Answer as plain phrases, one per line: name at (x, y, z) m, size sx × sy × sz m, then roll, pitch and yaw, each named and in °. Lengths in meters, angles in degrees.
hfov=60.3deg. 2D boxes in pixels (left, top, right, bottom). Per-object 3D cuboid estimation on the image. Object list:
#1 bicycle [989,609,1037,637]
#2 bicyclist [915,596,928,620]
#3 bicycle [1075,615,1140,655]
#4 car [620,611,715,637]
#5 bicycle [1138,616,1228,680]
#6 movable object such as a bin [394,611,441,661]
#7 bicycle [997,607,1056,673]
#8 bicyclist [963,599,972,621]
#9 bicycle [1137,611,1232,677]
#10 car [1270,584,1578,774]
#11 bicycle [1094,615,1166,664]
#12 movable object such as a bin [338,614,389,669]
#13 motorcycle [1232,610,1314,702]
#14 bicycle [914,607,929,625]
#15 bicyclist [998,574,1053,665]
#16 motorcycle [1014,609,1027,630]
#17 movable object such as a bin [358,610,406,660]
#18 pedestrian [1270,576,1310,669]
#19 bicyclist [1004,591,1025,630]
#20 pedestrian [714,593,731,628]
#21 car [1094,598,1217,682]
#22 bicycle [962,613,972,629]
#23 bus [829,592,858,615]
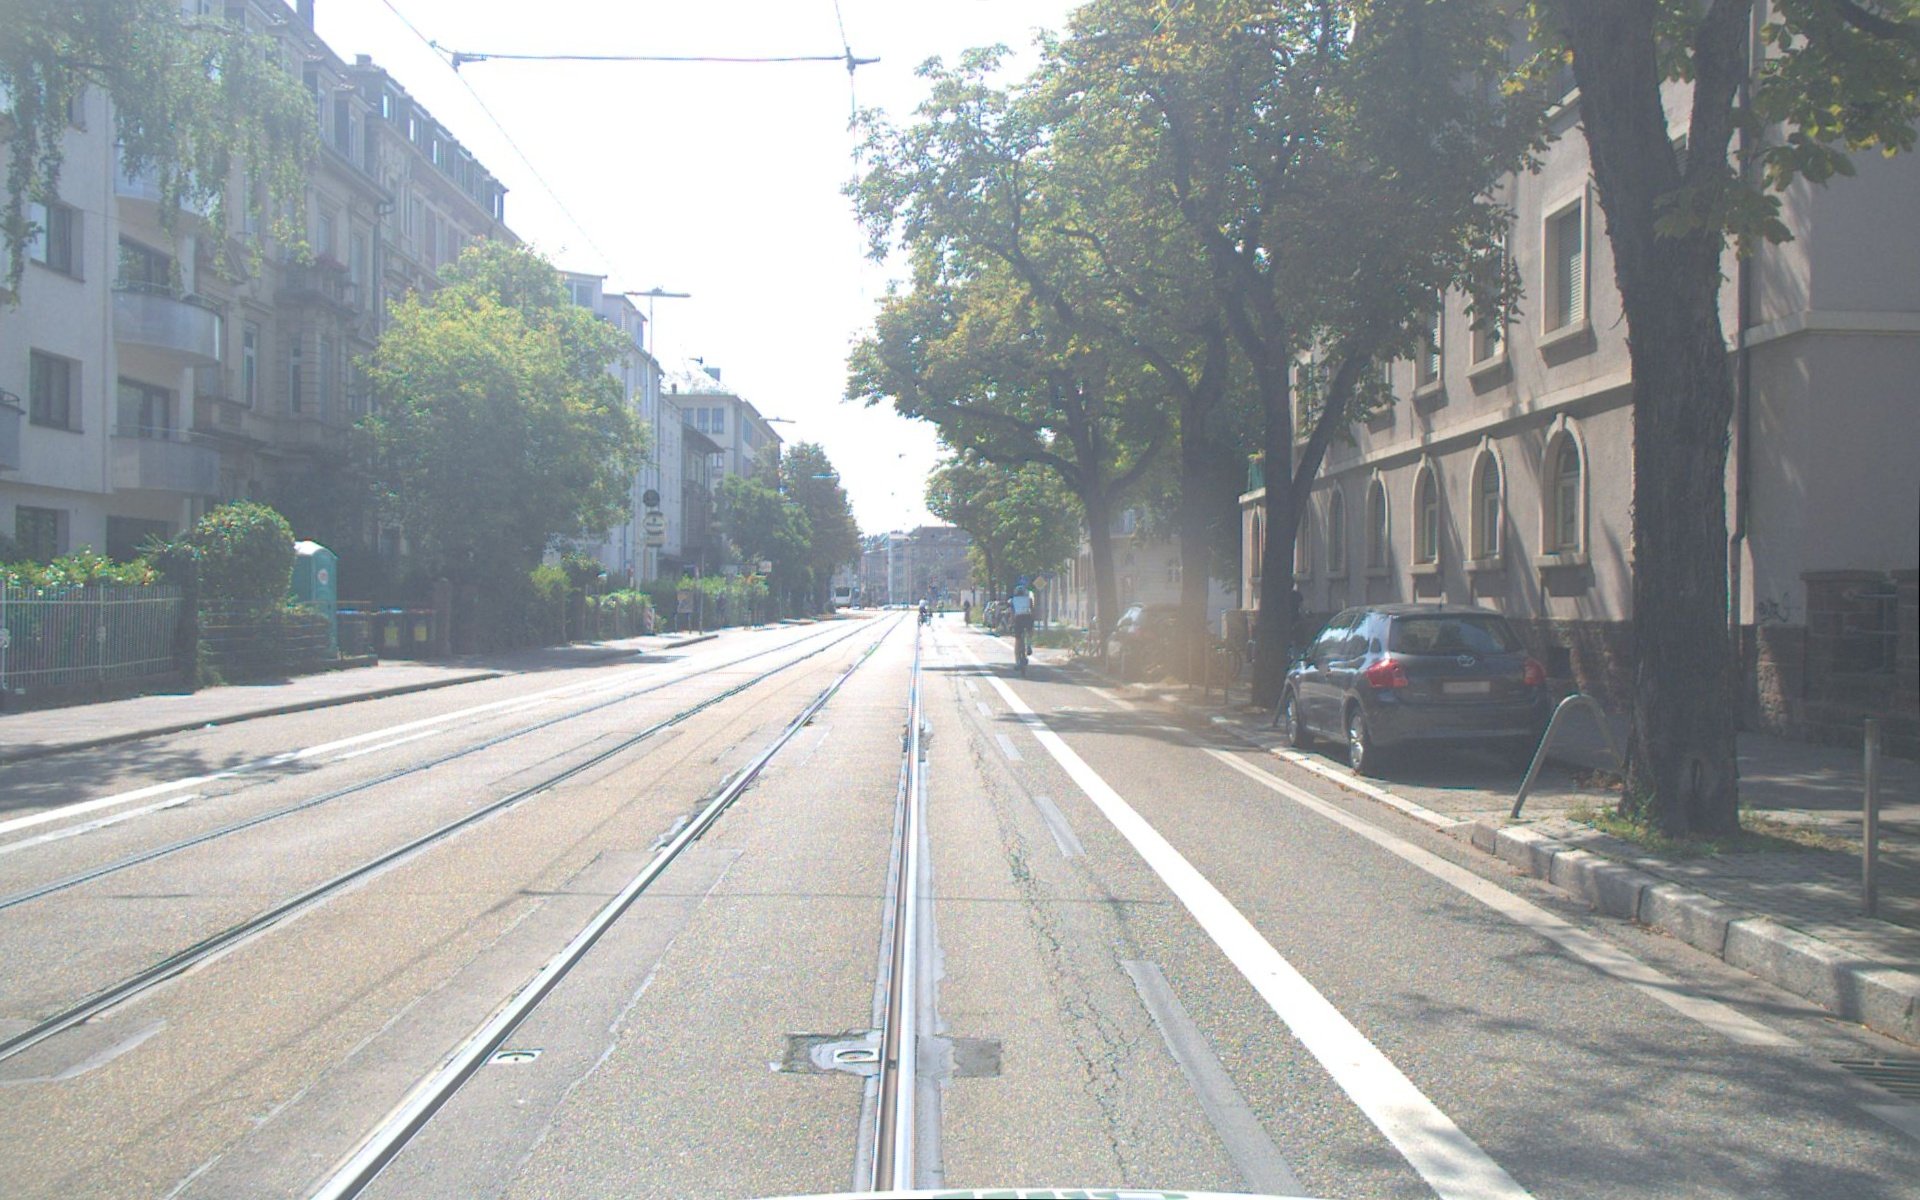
bicycle at (2.313, 1.009, 72.052) m, size 1.991 × 1.171 × 0.786 m, roll 0°, pitch 0°, yaw 10°
bicyclist at (-2.273, 0.477, 97.888) m, size 0.743 × 1.416 × 0.779 m, roll 0°, pitch 0°, yaw 1°
bicycle at (3.913, 0.925, 43.906) m, size 1.678 × 1.050 × 0.566 m, roll 0°, pitch 0°, yaw -1°
car at (-14.409, 1.184, 81.425) m, size 4.141 × 1.205 × 2.001 m, roll -1°, pitch -1°, yaw 19°
bicycle at (3.966, 0.849, 29.505) m, size 1.572 × 1.123 × 0.399 m, roll 0°, pitch 0°, yaw 5°
movable object such as a bin at (-12.253, 0.817, 37.367) m, size 0.770 × 1.094 × 0.803 m, roll 1°, pitch 0°, yaw 1°
bicycle at (1.373, 0.814, 34.789) m, size 1.124 × 1.291 × 2.712 m, roll 0°, pitch 0°, yaw 0°
bicyclist at (0.444, 0.600, 99.890) m, size 0.567 × 1.301 × 0.471 m, roll 0°, pitch -1°, yaw 1°
bicycle at (4.047, 0.788, 29.895) m, size 1.686 × 1.169 × 0.377 m, roll 0°, pitch 0°, yaw 5°
car at (4.417, 0.665, 16.436) m, size 1.803 × 1.559 × 4.114 m, roll 0°, pitch 2°, yaw -2°
bicycle at (4.010, 0.931, 39.009) m, size 1.686 × 1.156 × 0.377 m, roll 0°, pitch 0°, yaw 5°
movable object such as a bin at (-12.236, 0.843, 33.920) m, size 0.771 × 1.094 × 0.754 m, roll 1°, pitch 0°, yaw -3°
motorcycle at (4.654, 0.808, 24.739) m, size 0.696 × 1.277 × 2.175 m, roll 1°, pitch 0°, yaw -3°
bicycle at (-2.275, 0.947, 97.815) m, size 0.743 × 1.008 × 2.298 m, roll 0°, pitch 0°, yaw 1°
bicyclist at (1.365, 0.408, 34.727) m, size 1.102 × 1.869 × 0.955 m, roll 0°, pitch -1°, yaw -1°
motorcycle at (3.141, 1.015, 85.948) m, size 0.538 × 1.086 × 2.330 m, roll 0°, pitch 0°, yaw -1°
movable object such as a bin at (-13.038, 0.779, 37.327) m, size 0.770 × 1.094 × 0.803 m, roll 1°, pitch 0°, yaw 1°
pedestrian at (6.887, 0.459, 34.506) m, size 0.692 × 1.925 × 0.714 m, roll 0°, pitch -1°, yaw 0°
bicyclist at (2.369, 0.468, 72.040) m, size 0.806 × 1.671 × 0.786 m, roll 0°, pitch 0°, yaw 10°
pedestrian at (-12.117, 0.524, 84.406) m, size 0.764 × 1.787 × 1.040 m, roll 0°, pitch 0°, yaw -1°
car at (3.915, 0.755, 33.882) m, size 1.803 × 1.559 × 4.778 m, roll -1°, pitch 0°, yaw -2°
bicycle at (0.447, 1.270, 99.972) m, size 0.576 × 0.955 × 2.172 m, roll 0°, pitch 0°, yaw 1°
bus at (-17.621, 0.574, 251.072) m, size 3.660 × 3.423 × 15.113 m, roll 0°, pitch 0°, yaw -2°
